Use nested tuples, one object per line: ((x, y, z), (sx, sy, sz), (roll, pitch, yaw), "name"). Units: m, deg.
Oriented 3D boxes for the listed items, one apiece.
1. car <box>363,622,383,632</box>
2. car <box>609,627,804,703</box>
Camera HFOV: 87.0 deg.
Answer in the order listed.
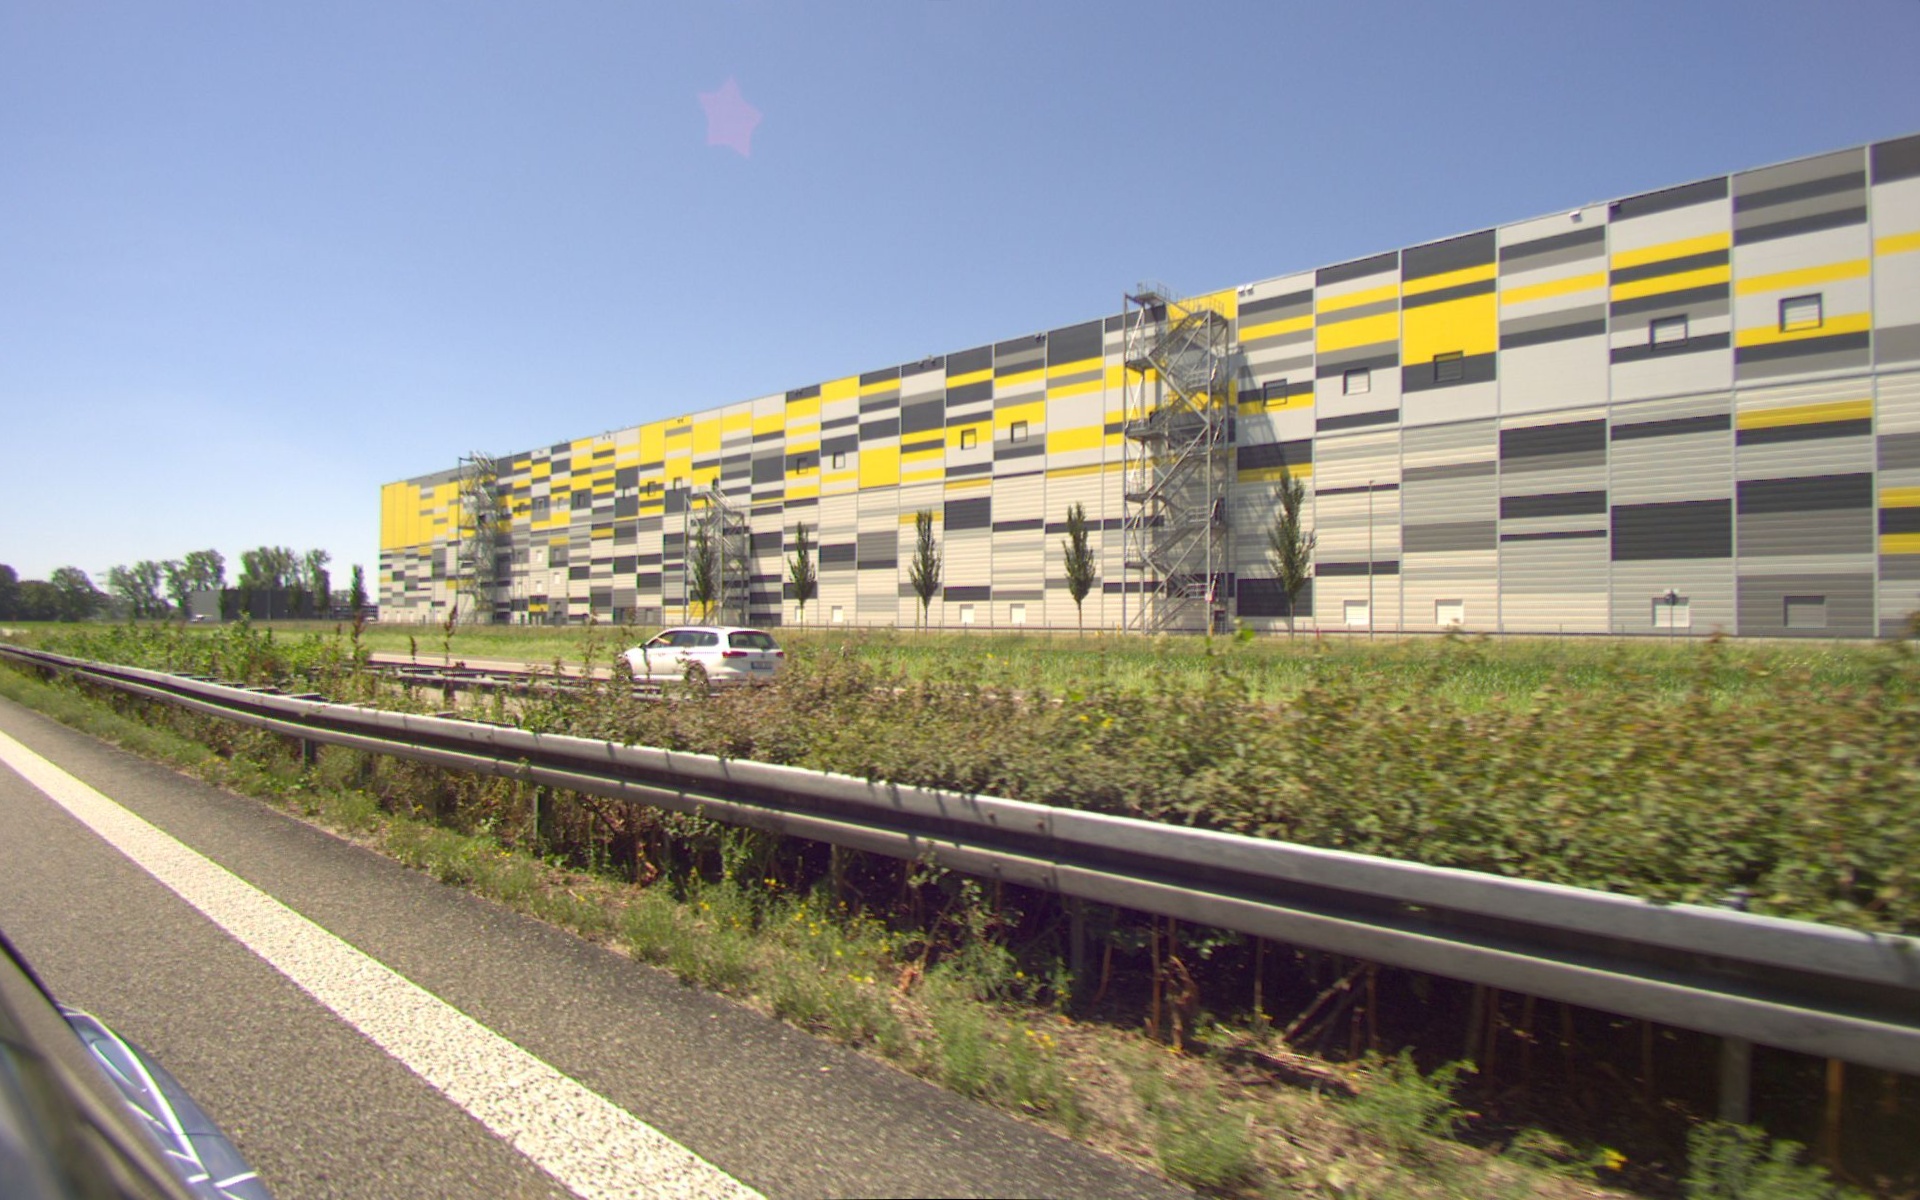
((-108.799, 5.014, 187.468), (4.266, 1.750, 1.808), (-1, -3, 40), "car")
((-5.506, 1.333, 21.655), (4.657, 1.438, 1.616), (-1, -3, 40), "car")
